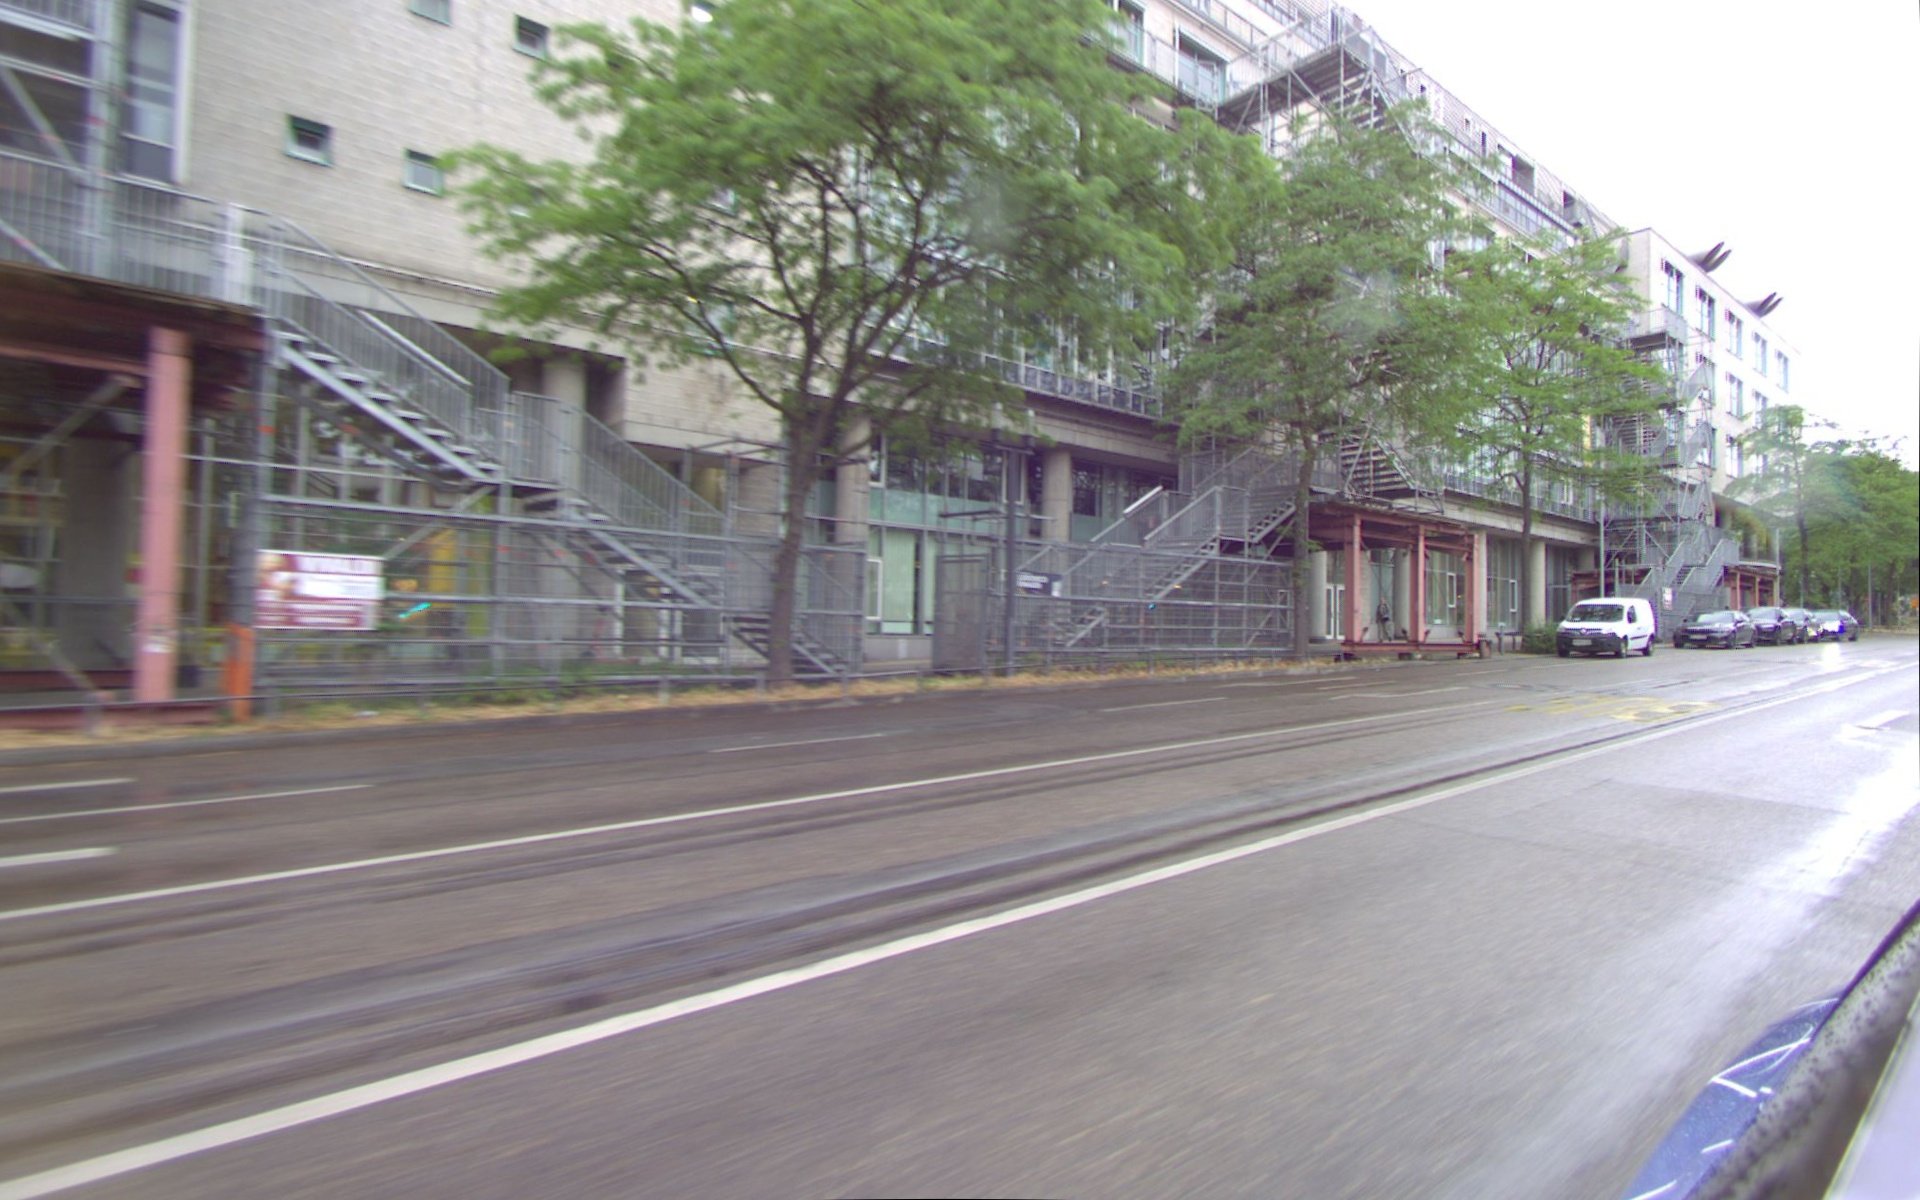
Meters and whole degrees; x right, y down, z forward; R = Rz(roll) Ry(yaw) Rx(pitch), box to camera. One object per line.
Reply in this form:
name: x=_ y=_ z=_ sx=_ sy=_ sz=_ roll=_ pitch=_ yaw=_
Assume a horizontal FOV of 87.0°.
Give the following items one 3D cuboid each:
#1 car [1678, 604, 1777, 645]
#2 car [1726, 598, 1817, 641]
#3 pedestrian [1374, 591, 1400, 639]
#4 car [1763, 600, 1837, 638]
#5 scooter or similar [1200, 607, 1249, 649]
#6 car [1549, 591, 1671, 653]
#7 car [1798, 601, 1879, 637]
car: x=29.080 y=0.900 z=38.317 sx=4.831 sy=1.456 sz=1.873 roll=1 pitch=0 yaw=-39
car: x=34.190 y=0.801 z=42.614 sx=4.773 sy=1.667 sz=1.998 roll=1 pitch=0 yaw=-39
pedestrian: x=15.923 y=0.553 z=37.761 sx=0.641 sy=1.764 sz=0.678 roll=1 pitch=0 yaw=-38
car: x=38.225 y=0.862 z=46.019 sx=4.512 sy=1.621 sz=1.865 roll=1 pitch=0 yaw=-41
scooter or similar: x=7.613 y=0.793 z=29.091 sx=1.520 sy=1.176 sz=0.632 roll=1 pitch=-1 yaw=-41
car: x=20.036 y=0.632 z=31.145 sx=4.447 sy=1.772 sz=1.997 roll=1 pitch=0 yaw=-41
car: x=42.951 y=0.917 z=49.439 sx=5.191 sy=1.621 sz=1.999 roll=1 pitch=0 yaw=-38
